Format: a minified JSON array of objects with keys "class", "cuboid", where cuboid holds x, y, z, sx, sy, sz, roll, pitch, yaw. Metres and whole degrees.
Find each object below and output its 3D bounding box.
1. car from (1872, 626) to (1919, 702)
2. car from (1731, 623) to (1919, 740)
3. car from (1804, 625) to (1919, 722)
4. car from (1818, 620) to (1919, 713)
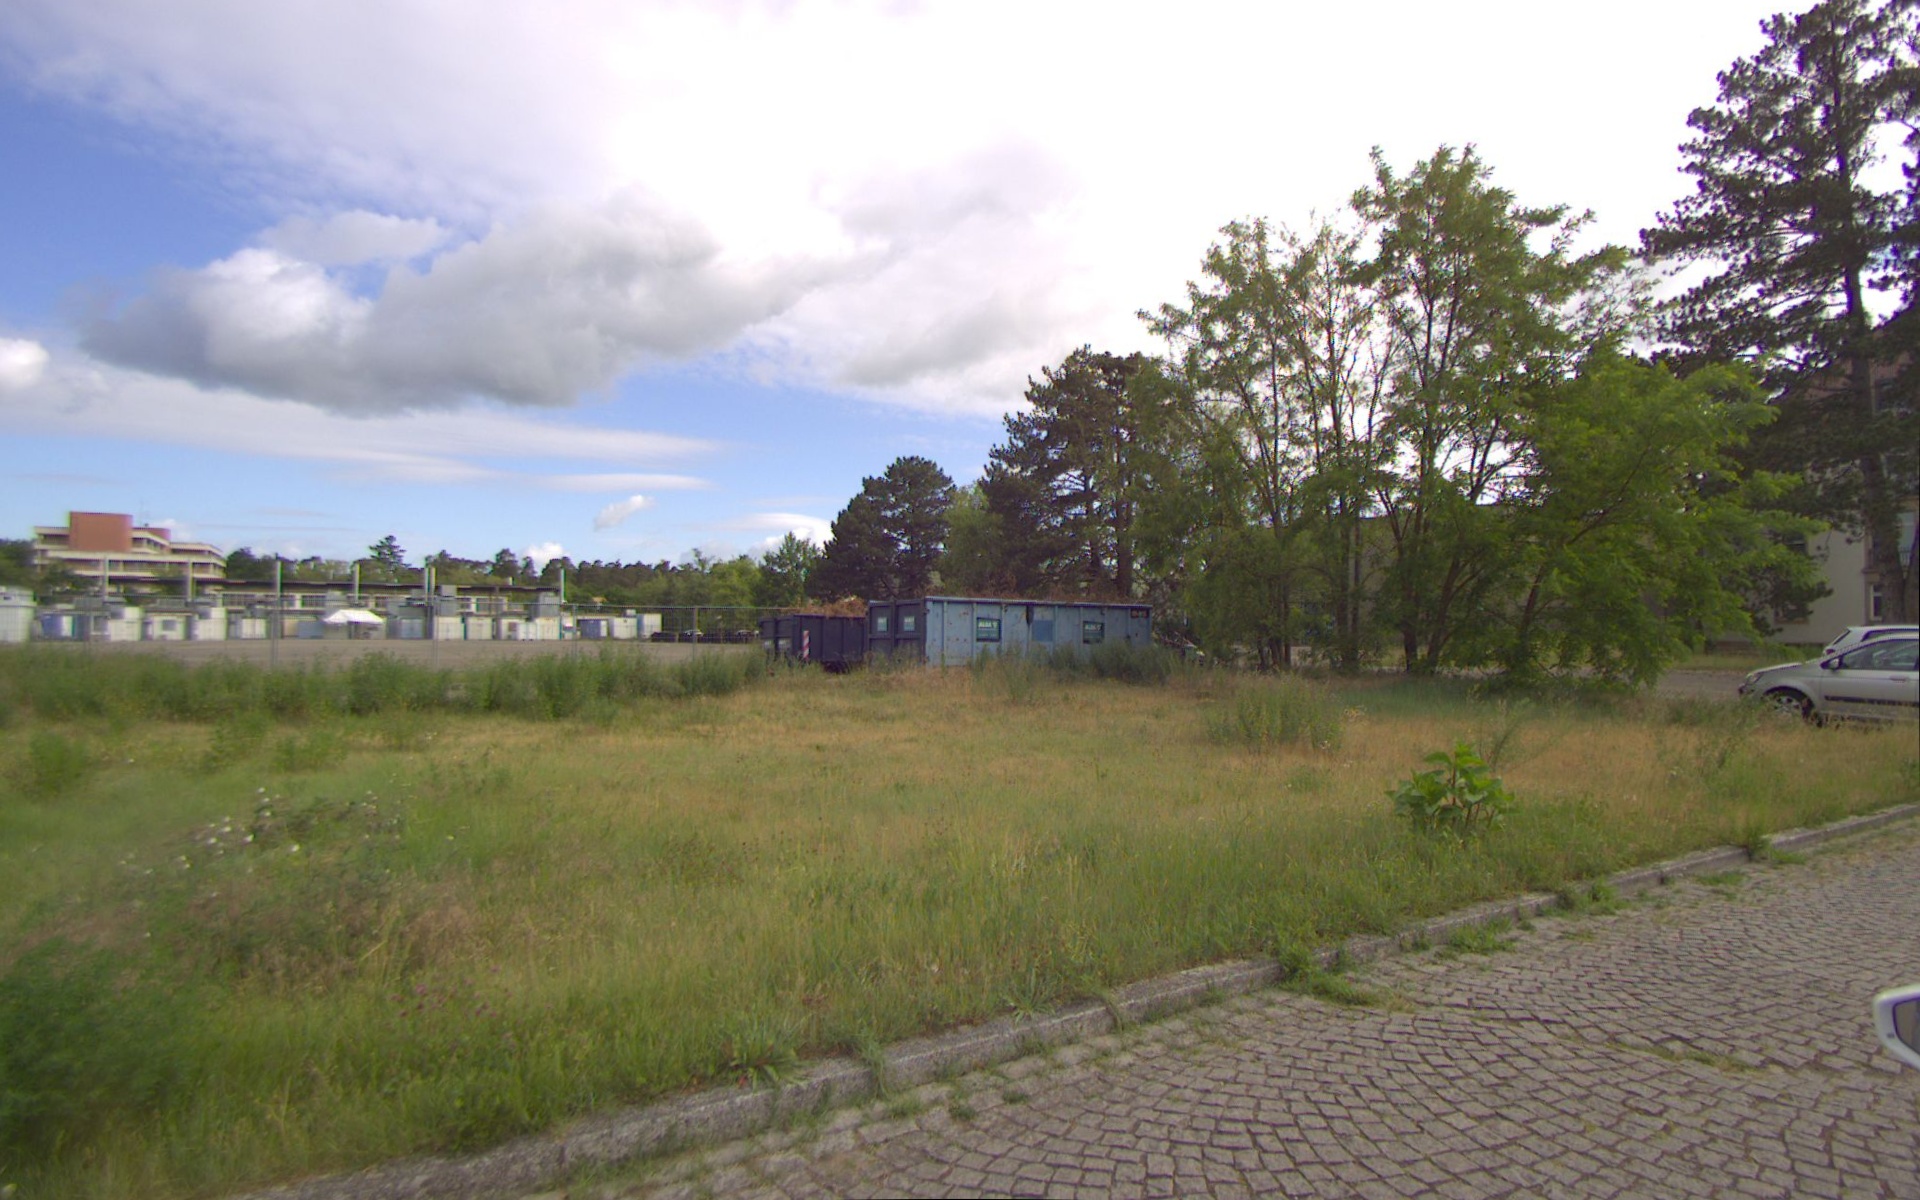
[{"class":"car","cuboid":[20.006,1.315,18.872,1.632,1.440,3.926,1,1,-32]},{"class":"car","cuboid":[13.566,1.169,14.384,1.566,1.499,3.679,1,1,-34]},{"class":"car","cuboid":[15.791,1.199,15.666,1.566,1.448,3.722,1,1,-34]},{"class":"car","cuboid":[17.837,1.228,17.614,1.633,1.584,3.923,1,1,-34]}]
